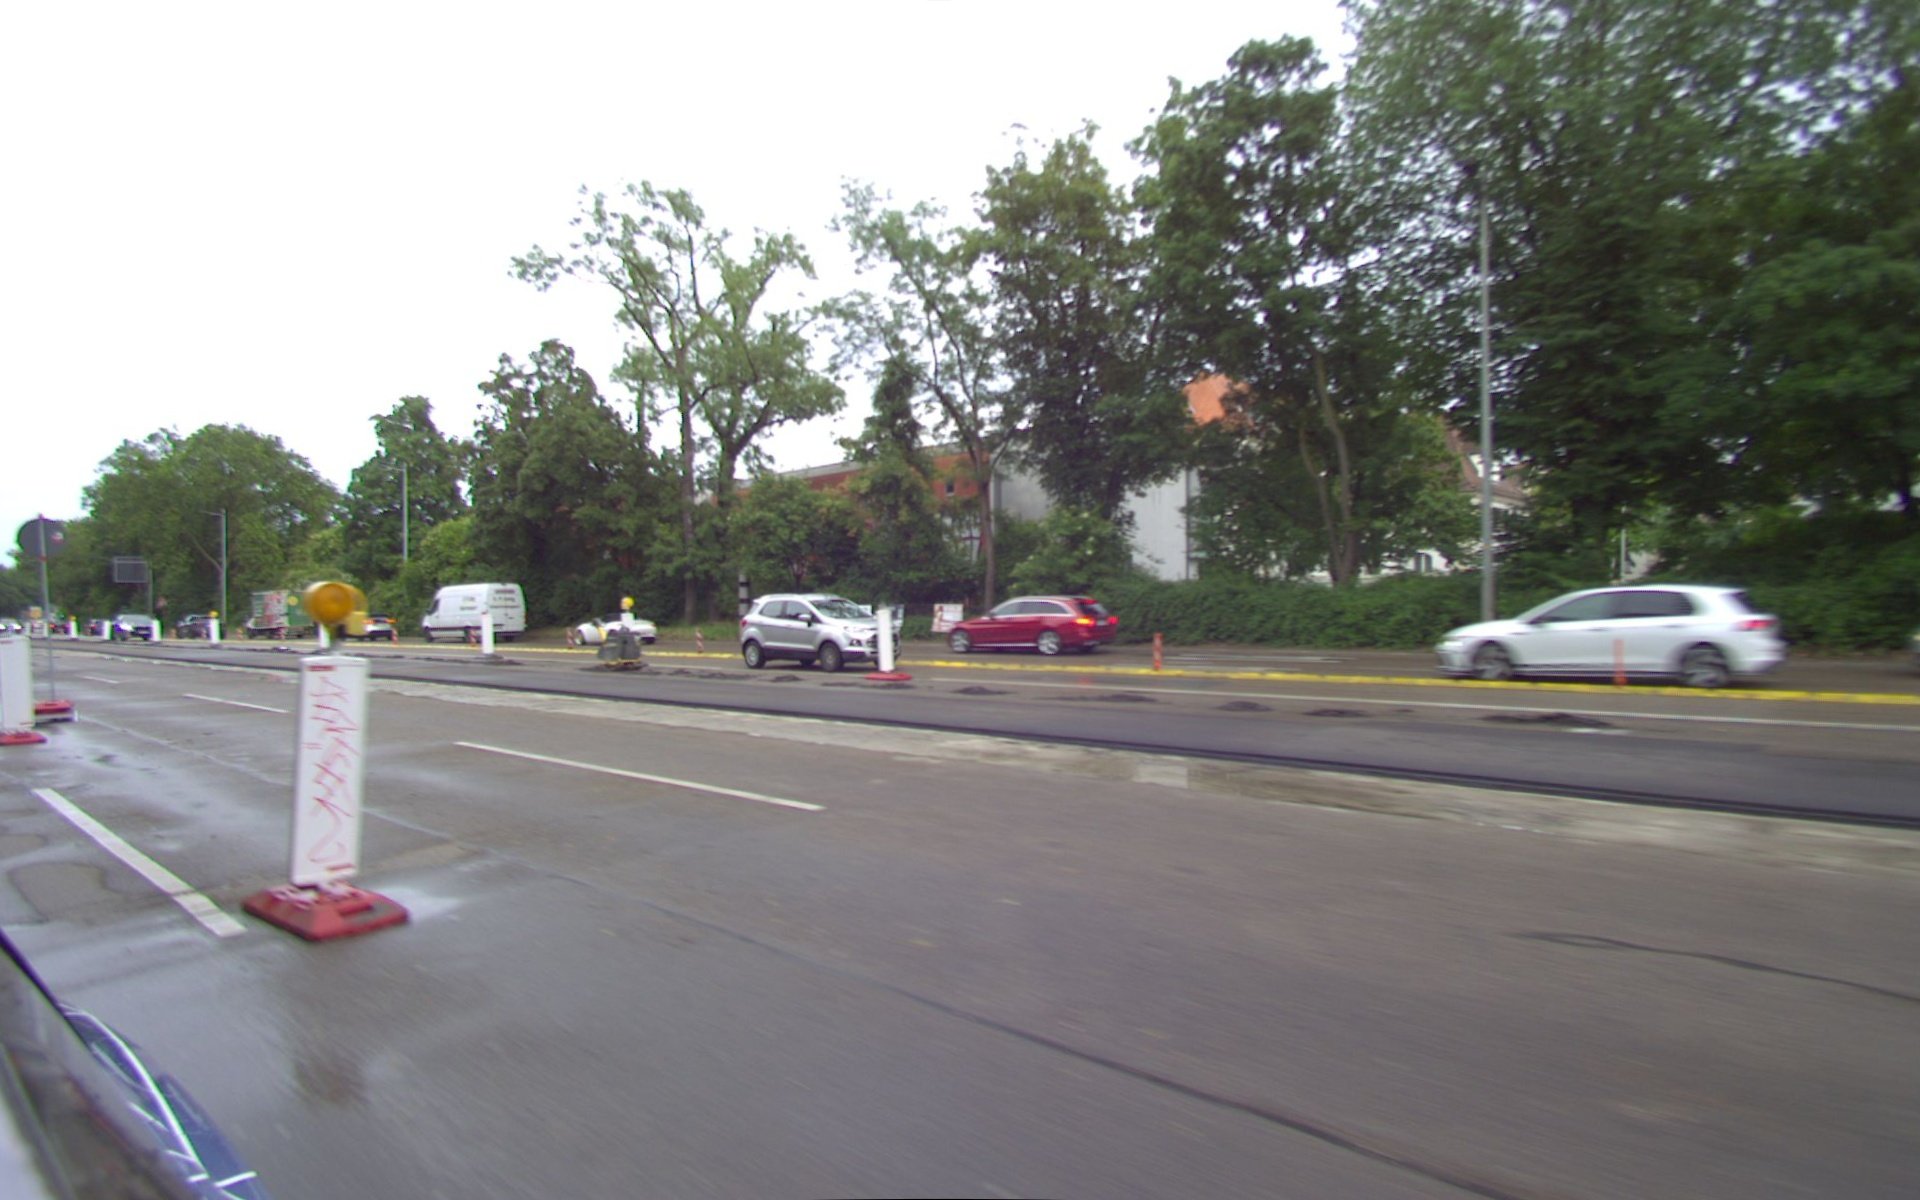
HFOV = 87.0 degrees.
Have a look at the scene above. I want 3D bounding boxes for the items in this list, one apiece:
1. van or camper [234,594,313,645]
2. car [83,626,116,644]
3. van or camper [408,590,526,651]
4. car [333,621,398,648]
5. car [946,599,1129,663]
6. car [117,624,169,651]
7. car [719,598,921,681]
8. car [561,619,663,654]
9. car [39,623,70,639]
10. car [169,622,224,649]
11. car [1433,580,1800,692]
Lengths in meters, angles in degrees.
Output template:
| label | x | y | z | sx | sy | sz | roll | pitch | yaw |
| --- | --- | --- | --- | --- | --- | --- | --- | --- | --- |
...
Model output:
| label | x | y | z | sx | sy | sz | roll | pitch | yaw |
| --- | --- | --- | --- | --- | --- | --- | --- | --- | --- |
| van or camper | -44.180 | 1.267 | 65.017 | 7.446 | 3.086 | 2.274 | -1 | -1 | 40 |
| car | -74.609 | 2.993 | 87.768 | 4.107 | 1.453 | 1.669 | -1 | 0 | 42 |
| van or camper | -22.687 | 0.938 | 46.342 | 7.726 | 2.574 | 1.973 | -1 | 1 | 41 |
| car | -31.511 | 1.824 | 53.588 | 4.078 | 1.375 | 1.698 | -1 | -1 | 40 |
| car | 1.884 | 0.757 | 25.650 | 4.484 | 1.487 | 1.711 | -1 | -1 | 40 |
| car | -52.400 | 2.370 | 64.876 | 4.813 | 1.641 | 1.971 | -1 | 0 | 44 |
| car | -3.109 | 0.827 | 21.936 | 4.360 | 1.576 | 1.870 | -2 | 0 | 40 |
| car | -13.130 | 1.356 | 38.077 | 3.993 | 1.192 | 1.673 | -2 | 1 | 37 |
| car | -95.936 | 3.307 | 107.156 | 4.395 | 1.563 | 1.869 | -2 | 0 | 41 |
| car | -50.398 | 2.349 | 66.775 | 4.804 | 1.706 | 1.973 | -1 | -1 | 41 |
| car | 9.724 | 0.499 | 15.189 | 4.391 | 1.426 | 1.973 | -1 | -1 | 41 |
